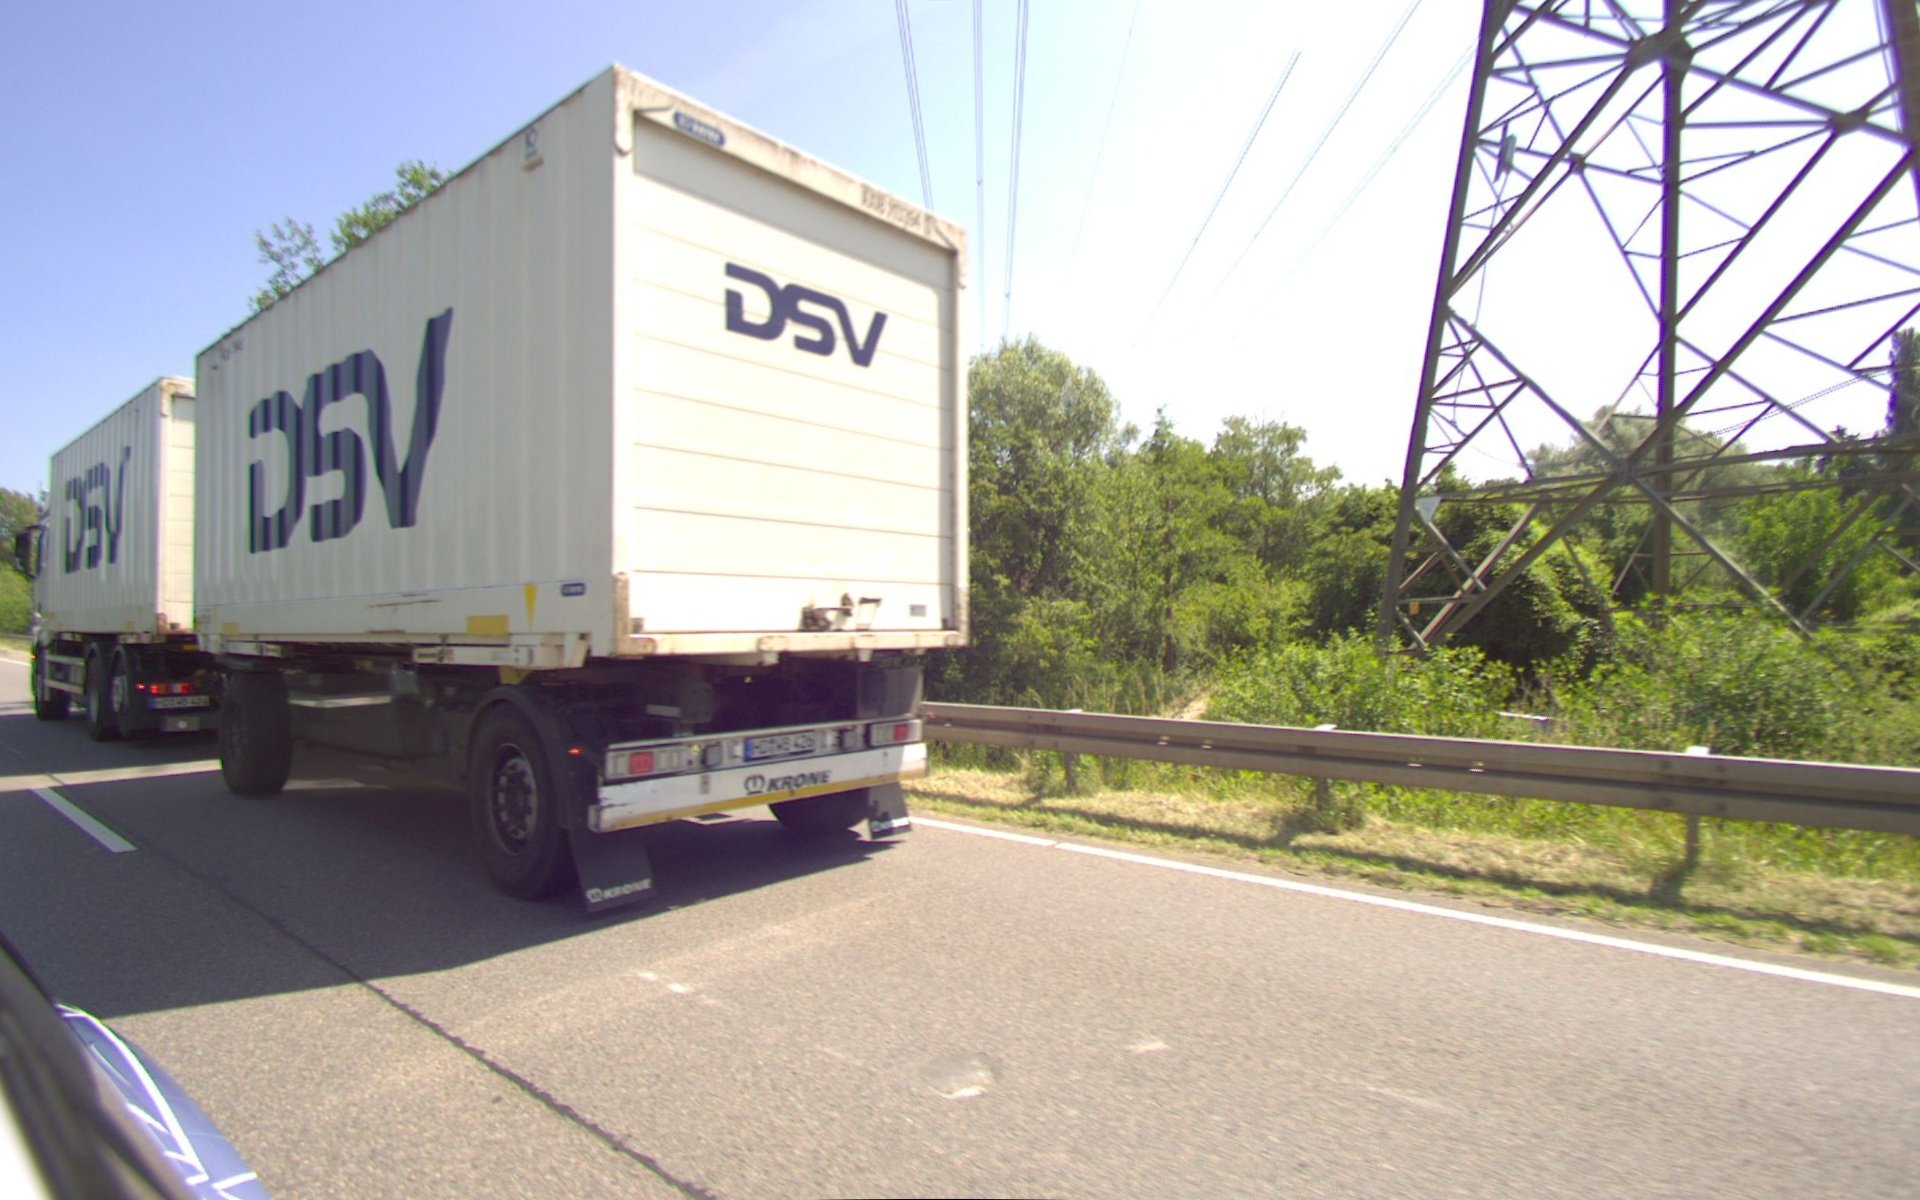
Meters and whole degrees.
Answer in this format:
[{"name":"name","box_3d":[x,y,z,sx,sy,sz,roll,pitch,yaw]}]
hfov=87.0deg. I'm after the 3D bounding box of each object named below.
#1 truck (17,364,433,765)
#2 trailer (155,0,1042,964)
[{"name":"truck","box_3d":[-10.941,-0.231,14.481,9.659,4.073,2.714,-2,-2,41]},{"name":"trailer","box_3d":[-3.800,-0.403,8.241,9.069,4.073,2.691,-2,-2,41]}]
